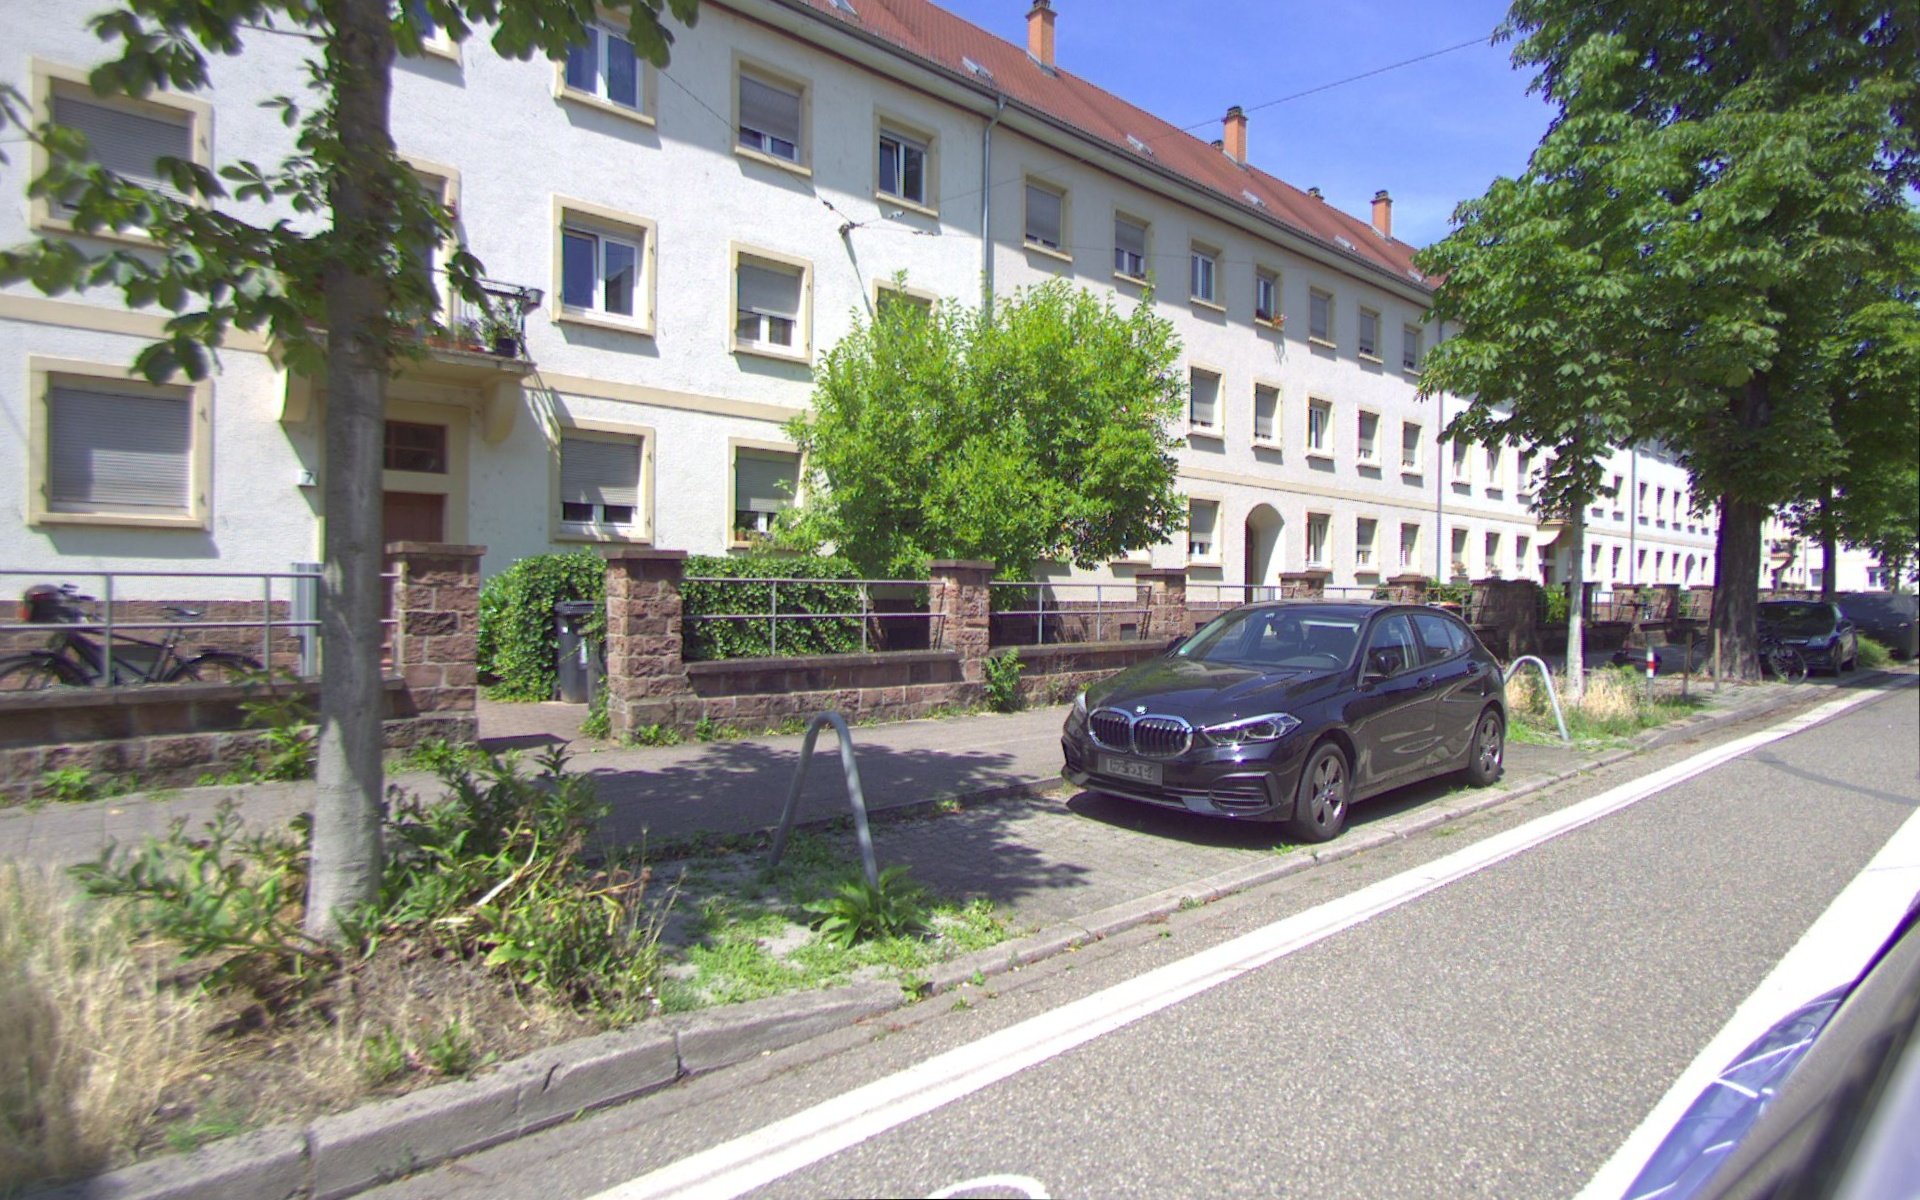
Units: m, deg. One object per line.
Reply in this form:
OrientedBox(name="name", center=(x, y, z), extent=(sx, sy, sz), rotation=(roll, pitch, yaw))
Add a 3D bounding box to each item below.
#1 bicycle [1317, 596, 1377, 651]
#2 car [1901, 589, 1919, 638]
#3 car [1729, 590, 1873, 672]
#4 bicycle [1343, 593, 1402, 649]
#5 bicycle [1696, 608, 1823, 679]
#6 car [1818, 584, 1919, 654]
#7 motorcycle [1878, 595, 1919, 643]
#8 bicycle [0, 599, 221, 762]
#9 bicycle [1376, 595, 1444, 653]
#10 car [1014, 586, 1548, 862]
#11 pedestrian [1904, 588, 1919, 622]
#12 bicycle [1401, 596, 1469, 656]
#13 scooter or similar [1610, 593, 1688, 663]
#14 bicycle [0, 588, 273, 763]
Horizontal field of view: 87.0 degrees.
OrientedBox(name="bicycle", center=(8.121, 0.471, 21.183), extent=(0.478, 1.091, 1.894), rotation=(1, 1, 43))
OrientedBox(name="car", center=(32.558, 0.449, 33.508), extent=(4.378, 1.571, 1.735), rotation=(0, 1, -43))
OrientedBox(name="car", center=(16.828, 0.557, 20.181), extent=(4.284, 1.436, 1.696), rotation=(0, 1, -43))
OrientedBox(name="bicycle", center=(8.497, 0.412, 20.808), extent=(0.478, 1.091, 1.894), rotation=(1, 1, 43))
OrientedBox(name="bicycle", center=(13.571, 0.717, 17.202), extent=(1.652, 1.091, 0.597), rotation=(2, 1, 43))
OrientedBox(name="car", center=(24.481, 0.451, 26.635), extent=(4.790, 1.671, 1.953), rotation=(0, 1, -38))
OrientedBox(name="motorcycle", center=(29.583, 0.578, 31.172), extent=(1.911, 1.451, 0.662), rotation=(1, 0, 41))
OrientedBox(name="bicycle", center=(-6.533, 0.555, 7.425), extent=(1.773, 1.116, 0.500), rotation=(0, 1, -38))
OrientedBox(name="bicycle", center=(8.936, 0.455, 20.073), extent=(1.891, 1.091, 0.479), rotation=(0, 1, -41))
OrientedBox(name="car", center=(2.702, 0.653, 7.690), extent=(4.780, 1.444, 1.771), rotation=(0, 1, -43))
OrientedBox(name="pedestrian", center=(48.250, 0.260, 51.084), extent=(0.743, 1.690, 0.699), rotation=(0, 3, -42))
OrientedBox(name="bicycle", center=(9.259, 0.481, 19.712), extent=(1.891, 1.091, 0.479), rotation=(0, 1, -41))
OrientedBox(name="scooter or similar", center=(12.324, 0.496, 18.098), extent=(1.222, 1.228, 0.381), rotation=(0, 1, -10))
OrientedBox(name="bicycle", center=(-5.891, 0.485, 7.073), extent=(1.773, 1.116, 0.500), rotation=(0, 1, -38))
